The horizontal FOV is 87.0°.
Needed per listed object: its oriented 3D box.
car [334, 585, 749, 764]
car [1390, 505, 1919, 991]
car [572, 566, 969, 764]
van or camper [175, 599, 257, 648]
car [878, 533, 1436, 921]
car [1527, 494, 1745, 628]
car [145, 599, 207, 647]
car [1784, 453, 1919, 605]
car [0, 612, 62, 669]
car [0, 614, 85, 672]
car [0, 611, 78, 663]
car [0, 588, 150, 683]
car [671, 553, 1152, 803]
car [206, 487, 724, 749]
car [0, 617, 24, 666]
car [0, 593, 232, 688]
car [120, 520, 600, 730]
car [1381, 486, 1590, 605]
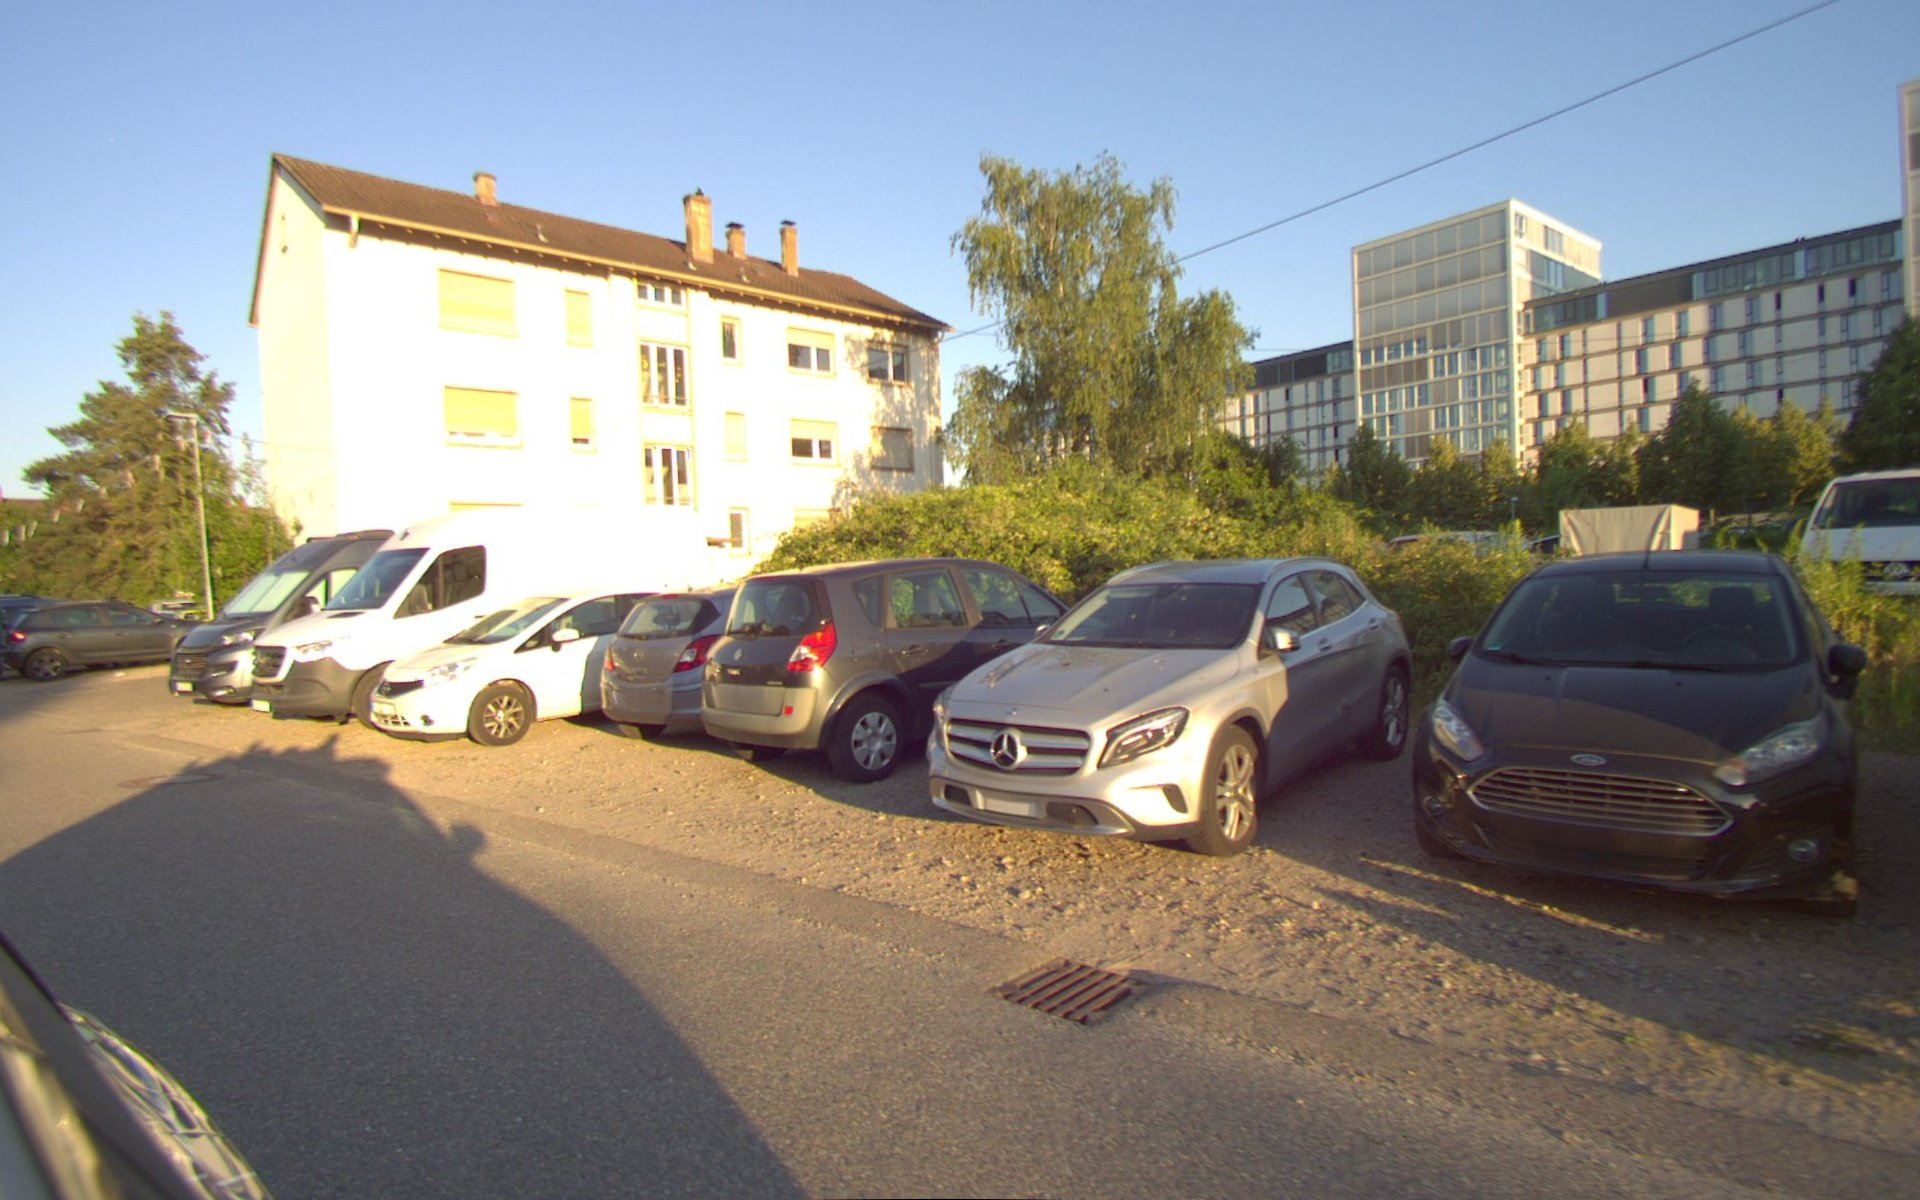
[{"bbox_3d":[-4.502,0.678,11.362,1.788,1.518,3.888,-1,2,39],"label":"car"},{"bbox_3d":[3.886,0.359,5.374,1.747,1.602,4.084,-1,3,41],"label":"car"},{"bbox_3d":[-1.793,0.497,10.614,1.746,1.602,3.888,0,2,38],"label":"car"},{"bbox_3d":[-45.374,1.414,61.671,5.787,2.791,2.236,-2,1,35],"label":"van or camper"},{"bbox_3d":[1.552,0.454,6.477,1.746,1.602,4.086,-1,3,39],"label":"car"},{"bbox_3d":[8.792,-0.515,13.054,1.666,1.487,3.564,-2,2,45],"label":"car"},{"bbox_3d":[-40.571,1.226,52.332,4.823,2.165,1.823,-5,-1,44],"label":"car"},{"bbox_3d":[11.100,-0.828,11.424,4.313,1.487,1.985,-4,2,-40],"label":"car"},{"bbox_3d":[-29.931,1.311,30.426,1.817,1.640,4.054,-5,-1,35],"label":"car"},{"bbox_3d":[-27.839,1.268,29.058,1.643,1.528,3.884,0,2,42],"label":"car"},{"bbox_3d":[-31.450,1.304,32.945,1.808,1.532,3.885,-4,1,42],"label":"car"},{"bbox_3d":[-21.335,0.828,23.162,1.738,1.925,3.906,-3,2,25],"label":"car"},{"bbox_3d":[-0.245,0.474,8.685,3.880,1.602,1.750,-4,1,-44],"label":"car"},{"bbox_3d":[-6.146,0.026,13.483,2.047,2.733,5.775,-2,2,36],"label":"car"},{"bbox_3d":[-34.468,1.497,34.200,1.849,1.632,3.994,-2,1,42],"label":"car"},{"bbox_3d":[-18.771,0.826,22.440,1.747,1.664,3.886,-2,3,41],"label":"car"},{"bbox_3d":[-9.203,0.133,16.409,2.106,2.732,6.341,-1,3,32],"label":"car"},{"bbox_3d":[7.660,-0.784,14.626,1.666,1.487,3.564,-2,2,45],"label":"car"}]
